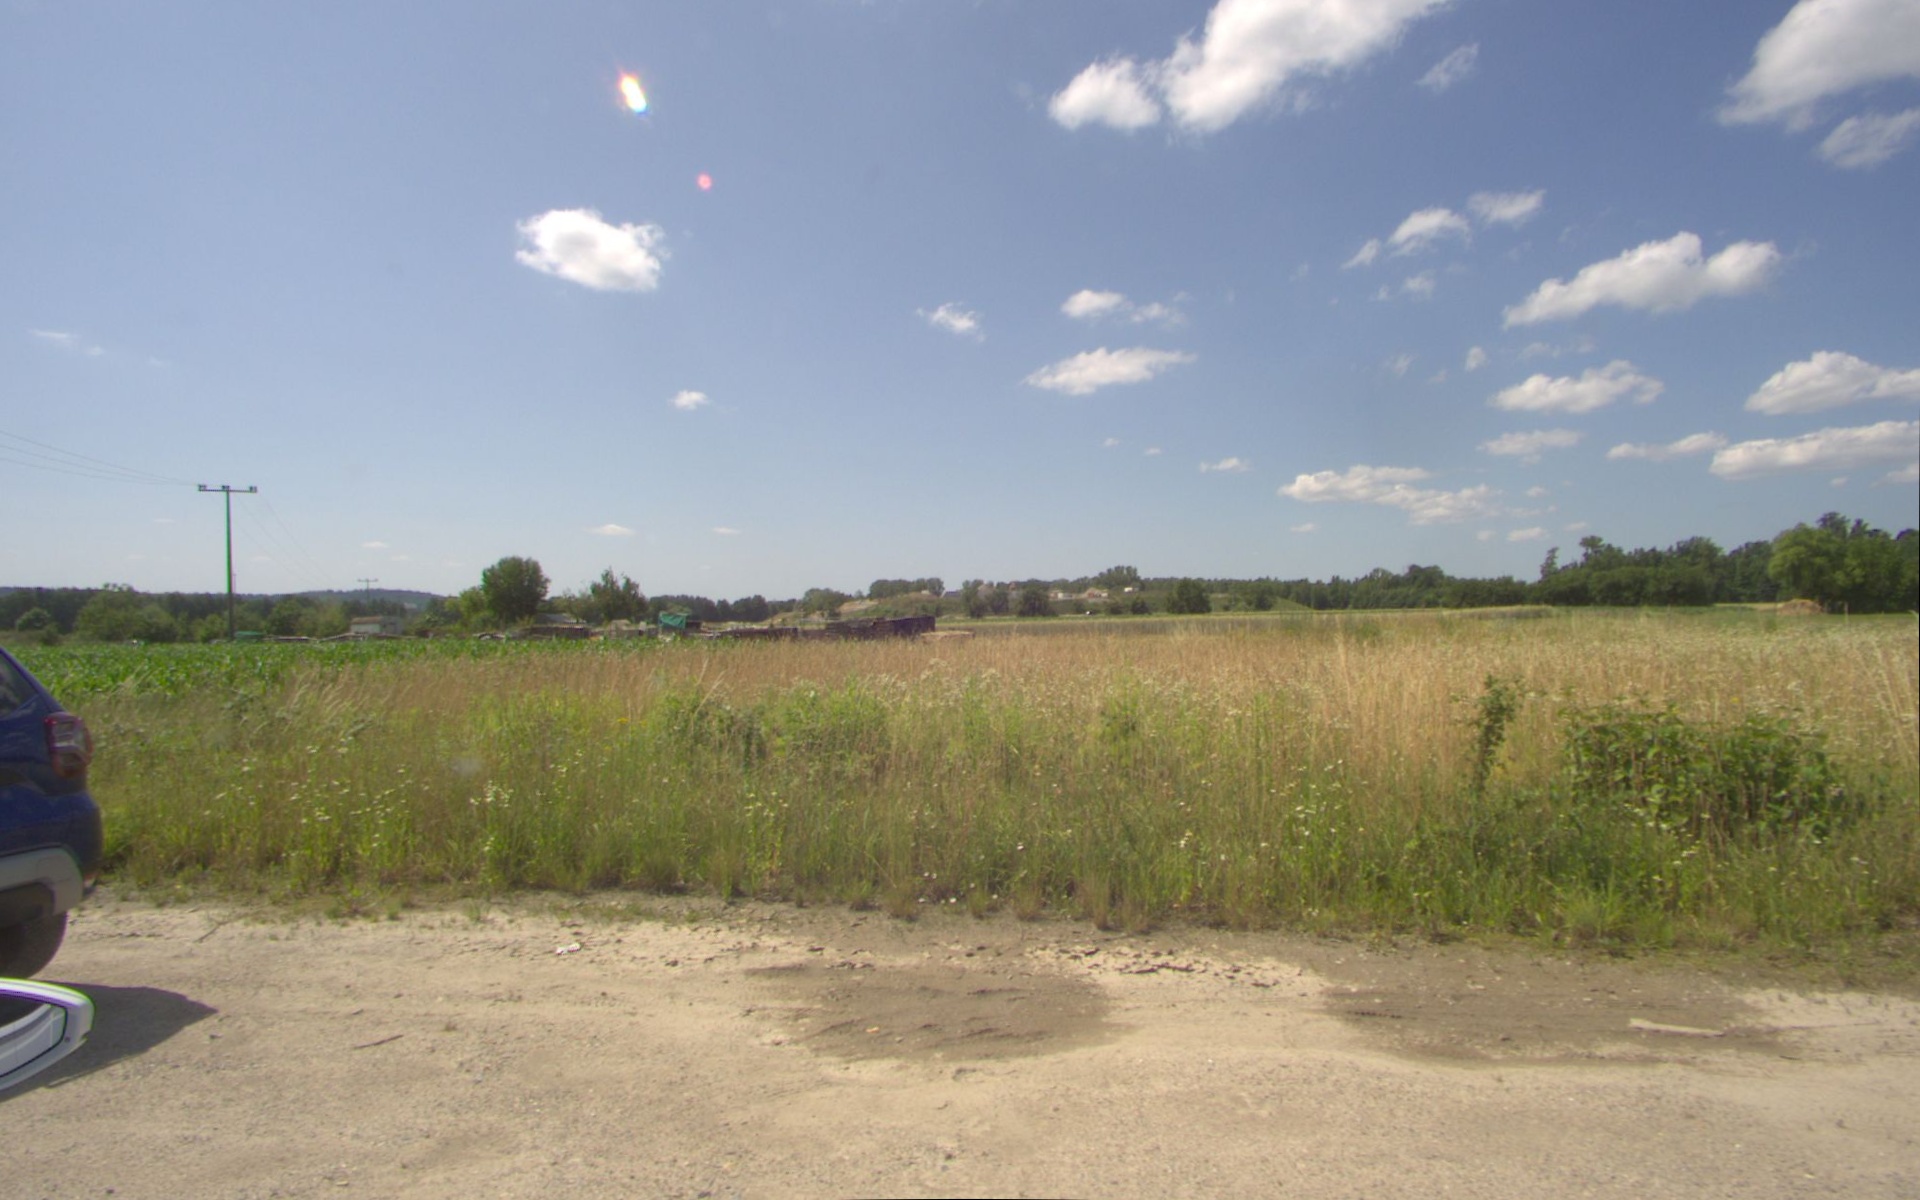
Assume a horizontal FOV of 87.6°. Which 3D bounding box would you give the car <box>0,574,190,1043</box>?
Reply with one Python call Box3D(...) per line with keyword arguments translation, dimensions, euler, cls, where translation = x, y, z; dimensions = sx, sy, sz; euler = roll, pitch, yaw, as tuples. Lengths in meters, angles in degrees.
Box3D(translation=(-5.642, 0.815, 3.795), dimensions=(4.374, 1.682, 1.864), euler=(-2, -2, 10), cls="car")
